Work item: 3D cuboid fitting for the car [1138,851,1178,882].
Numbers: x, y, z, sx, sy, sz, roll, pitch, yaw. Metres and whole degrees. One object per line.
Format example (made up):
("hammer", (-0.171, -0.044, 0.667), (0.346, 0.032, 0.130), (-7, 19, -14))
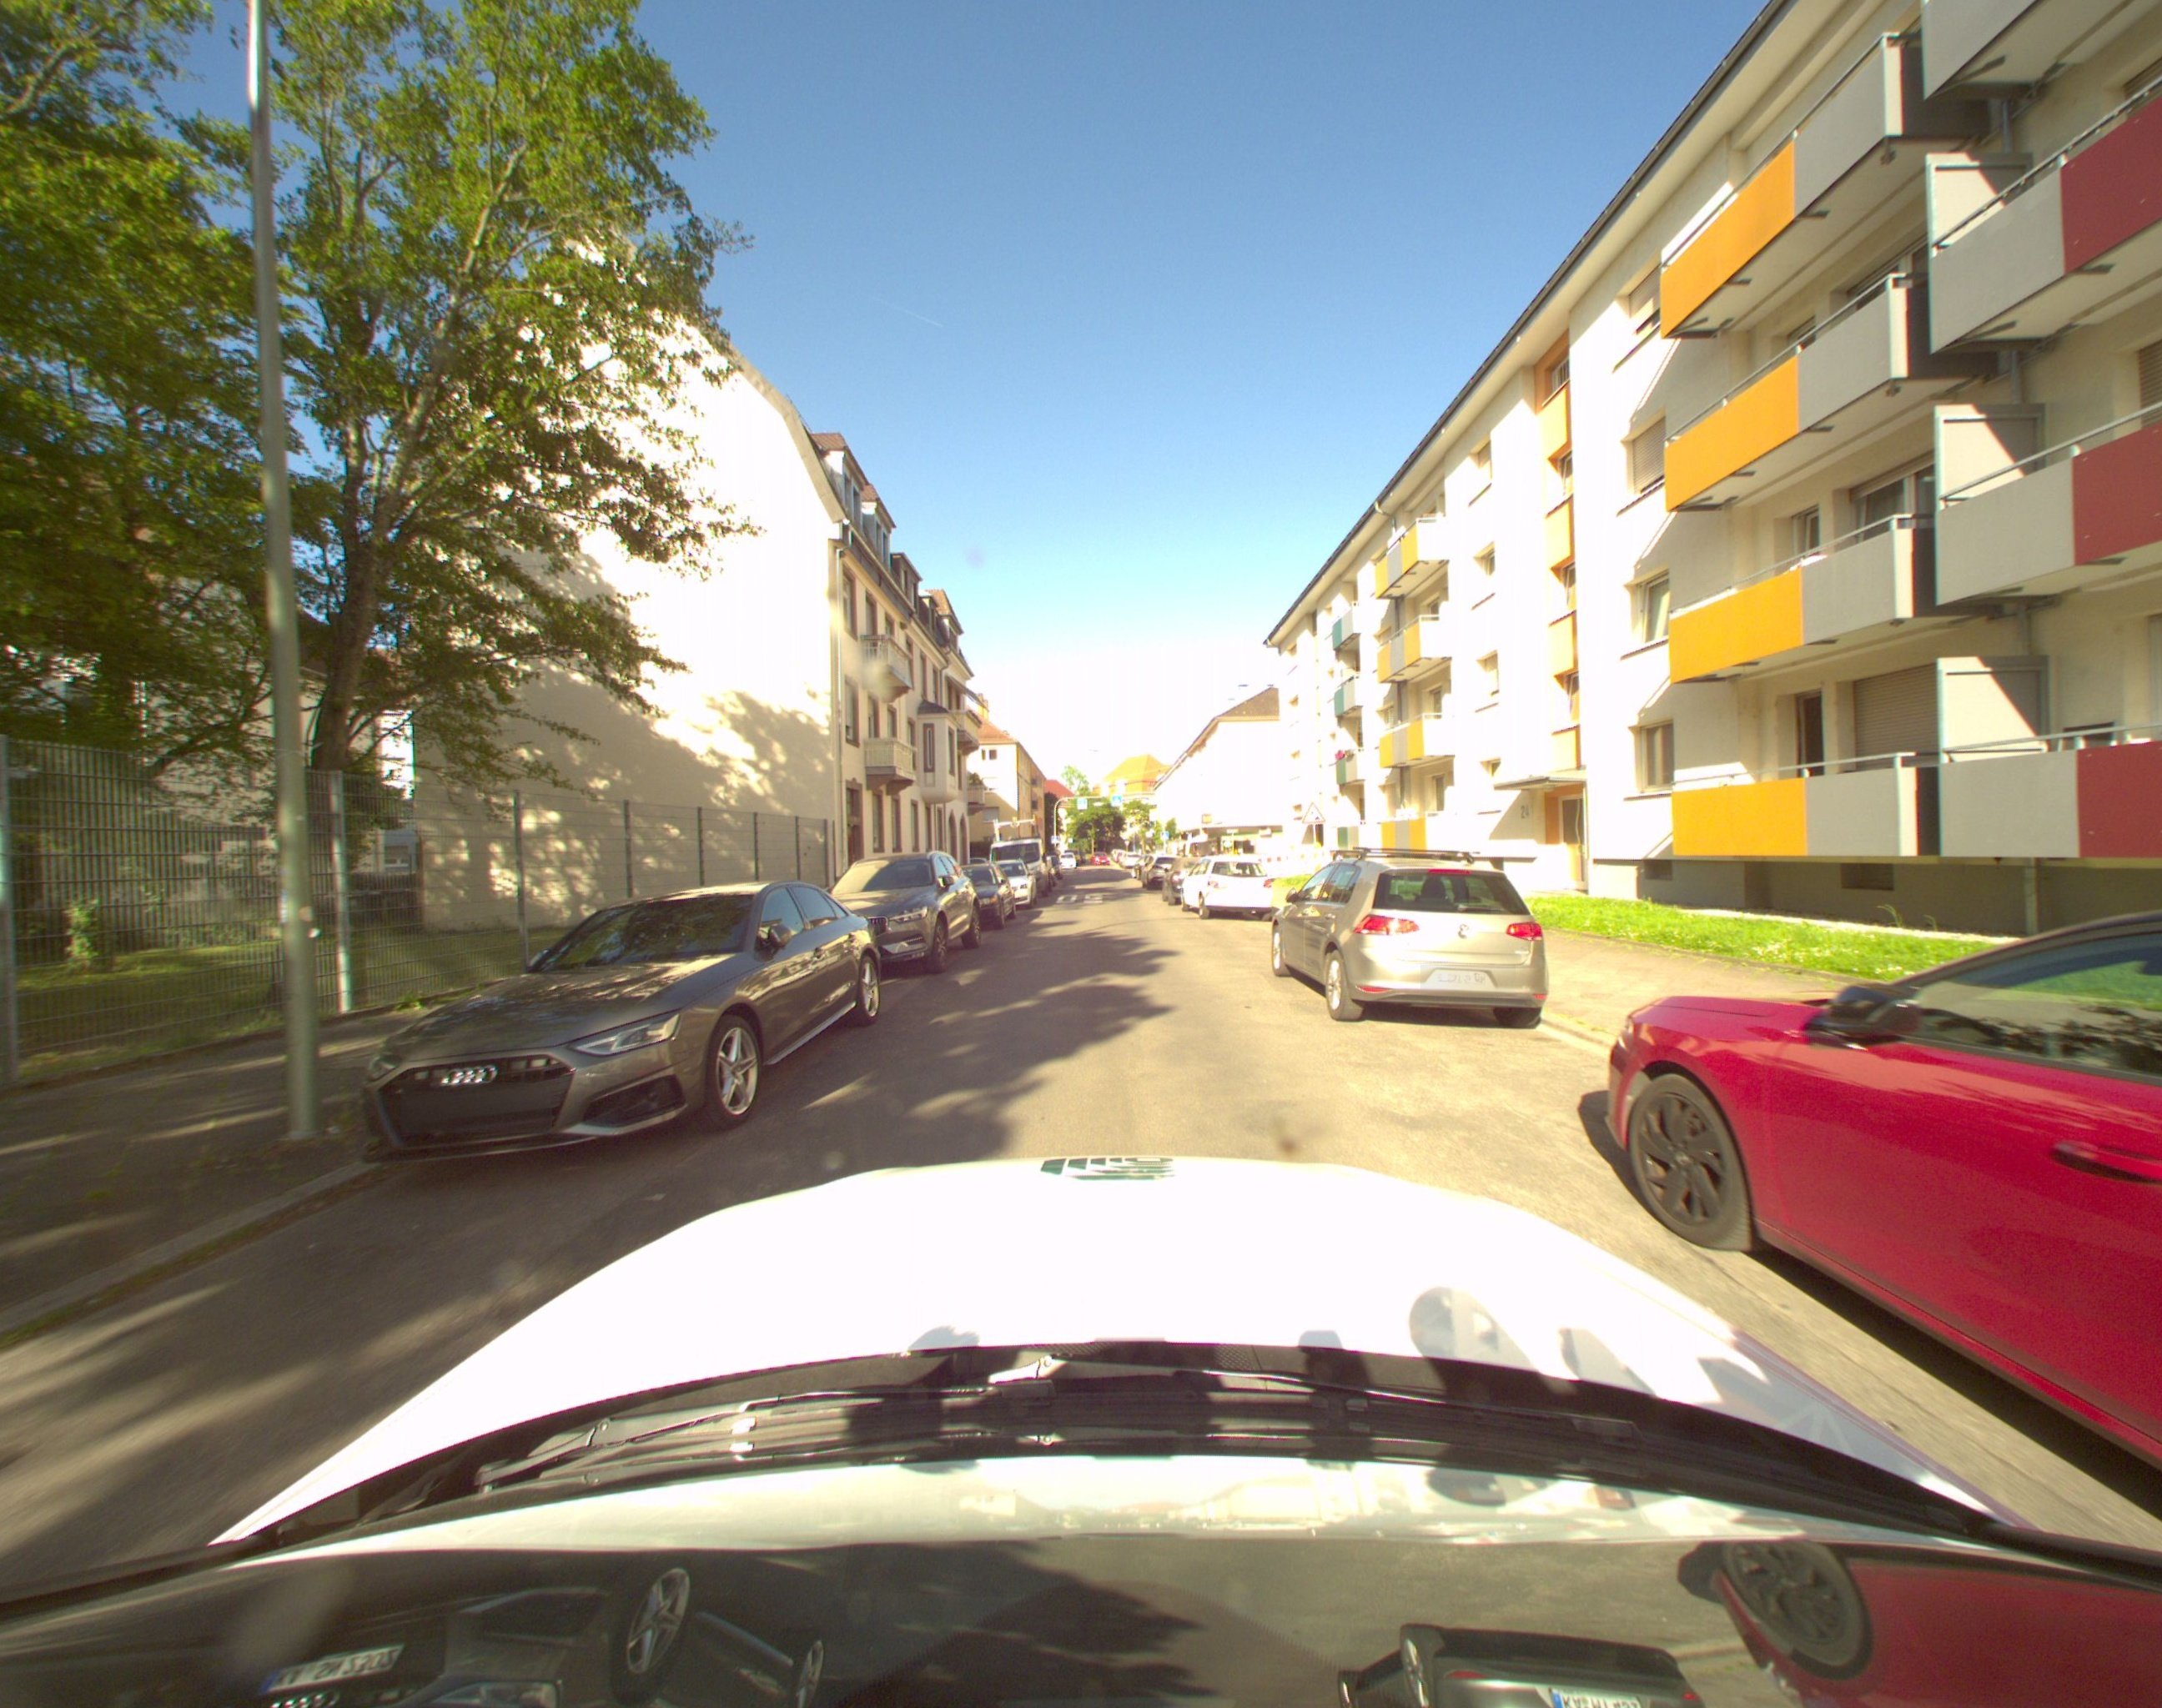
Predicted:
("car", (3.796, 0.622, 40.469), (1.639, 1.460, 3.939), (1, -1, 0))

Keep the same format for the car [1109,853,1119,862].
("car", (5.583, 0.561, 139.117), (1.632, 1.441, 3.419), (0, 0, 0))

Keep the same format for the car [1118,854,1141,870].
("car", (4.361, 0.686, 73.057), (1.839, 1.441, 3.418), (0, 0, -1))

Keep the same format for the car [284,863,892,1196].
("car", (-2.865, 0.852, 6.127), (1.788, 1.471, 4.501), (-2, 0, 0))

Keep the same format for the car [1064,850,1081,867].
("car", (-0.949, 0.500, 88.719), (1.691, 1.779, 4.100), (0, 0, 1))

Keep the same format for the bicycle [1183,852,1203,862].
("bicycle", (10.522, 0.297, 76.633), (1.806, 0.967, 0.671), (0, 0, -10))

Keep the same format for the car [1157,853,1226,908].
("car", (3.297, 0.745, 24.813), (1.682, 1.467, 3.584), (2, 0, 2))

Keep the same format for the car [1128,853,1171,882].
("car", (3.749, 0.732, 45.357), (1.849, 1.523, 4.773), (1, -1, -2))

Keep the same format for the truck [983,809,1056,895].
("truck", (-2.250, -0.030, 31.986), (2.252, 2.986, 7.274), (0, -1, 0))

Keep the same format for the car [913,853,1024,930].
("car", (-2.445, 0.785, 18.842), (1.785, 1.563, 4.461), (1, -1, 2))

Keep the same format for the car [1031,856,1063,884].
("car", (-1.963, 0.925, 48.009), (1.699, 1.416, 4.372), (-4, -1, -1))

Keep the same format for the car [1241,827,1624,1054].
("car", (3.072, 0.654, 8.352), (1.893, 1.622, 4.601), (2, 0, 0))

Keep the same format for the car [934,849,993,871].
("car", (-8.395, 0.409, 58.141), (3.988, 1.479, 1.586), (0, 0, -17))

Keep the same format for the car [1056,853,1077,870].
("car", (-1.344, 0.731, 77.597), (1.785, 1.480, 4.100), (-1, 1, 1))

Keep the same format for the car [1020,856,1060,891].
("car", (-1.893, 0.907, 38.757), (1.641, 1.416, 4.078), (-4, -1, -1))

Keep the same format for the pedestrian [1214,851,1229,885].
("pedestrian", (6.045, 0.612, 35.033), (0.573, 1.433, 0.472), (-2, 0, 3))

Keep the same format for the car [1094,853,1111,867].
("car", (2.304, 0.642, 87.886), (1.690, 1.441, 3.422), (0, 0, 3))

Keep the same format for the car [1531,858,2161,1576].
("car", (3.068, 0.736, 1.874), (1.745, 1.444, 4.526), (0, 0, 3))

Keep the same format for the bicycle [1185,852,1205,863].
("bicycle", (10.632, 0.325, 76.002), (1.806, 0.967, 0.671), (0, 0, -10))

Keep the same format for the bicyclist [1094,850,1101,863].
("bicyclist", (2.085, 0.347, 102.124), (0.782, 1.621, 0.957), (-2, 0, 5))

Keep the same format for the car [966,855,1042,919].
("car", (-2.243, 0.910, 24.824), (1.787, 1.541, 4.639), (-6, 1, -1))

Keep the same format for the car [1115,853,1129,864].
("car", (5.239, 0.580, 104.554), (1.632, 1.441, 3.419), (0, 0, 0))

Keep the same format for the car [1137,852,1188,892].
("car", (3.396, 0.739, 34.503), (1.785, 1.471, 4.340), (4, 0, 2))

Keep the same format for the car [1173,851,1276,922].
("car", (3.444, 0.740, 20.255), (1.681, 1.463, 3.817), (5, 0, -2))

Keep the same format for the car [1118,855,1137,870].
("car", (4.422, 0.822, 77.989), (1.685, 1.441, 3.418), (0, 0, 0))

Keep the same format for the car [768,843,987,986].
("car", (-2.735, 0.737, 12.268), (1.872, 1.664, 4.933), (-2, 0, 2))
